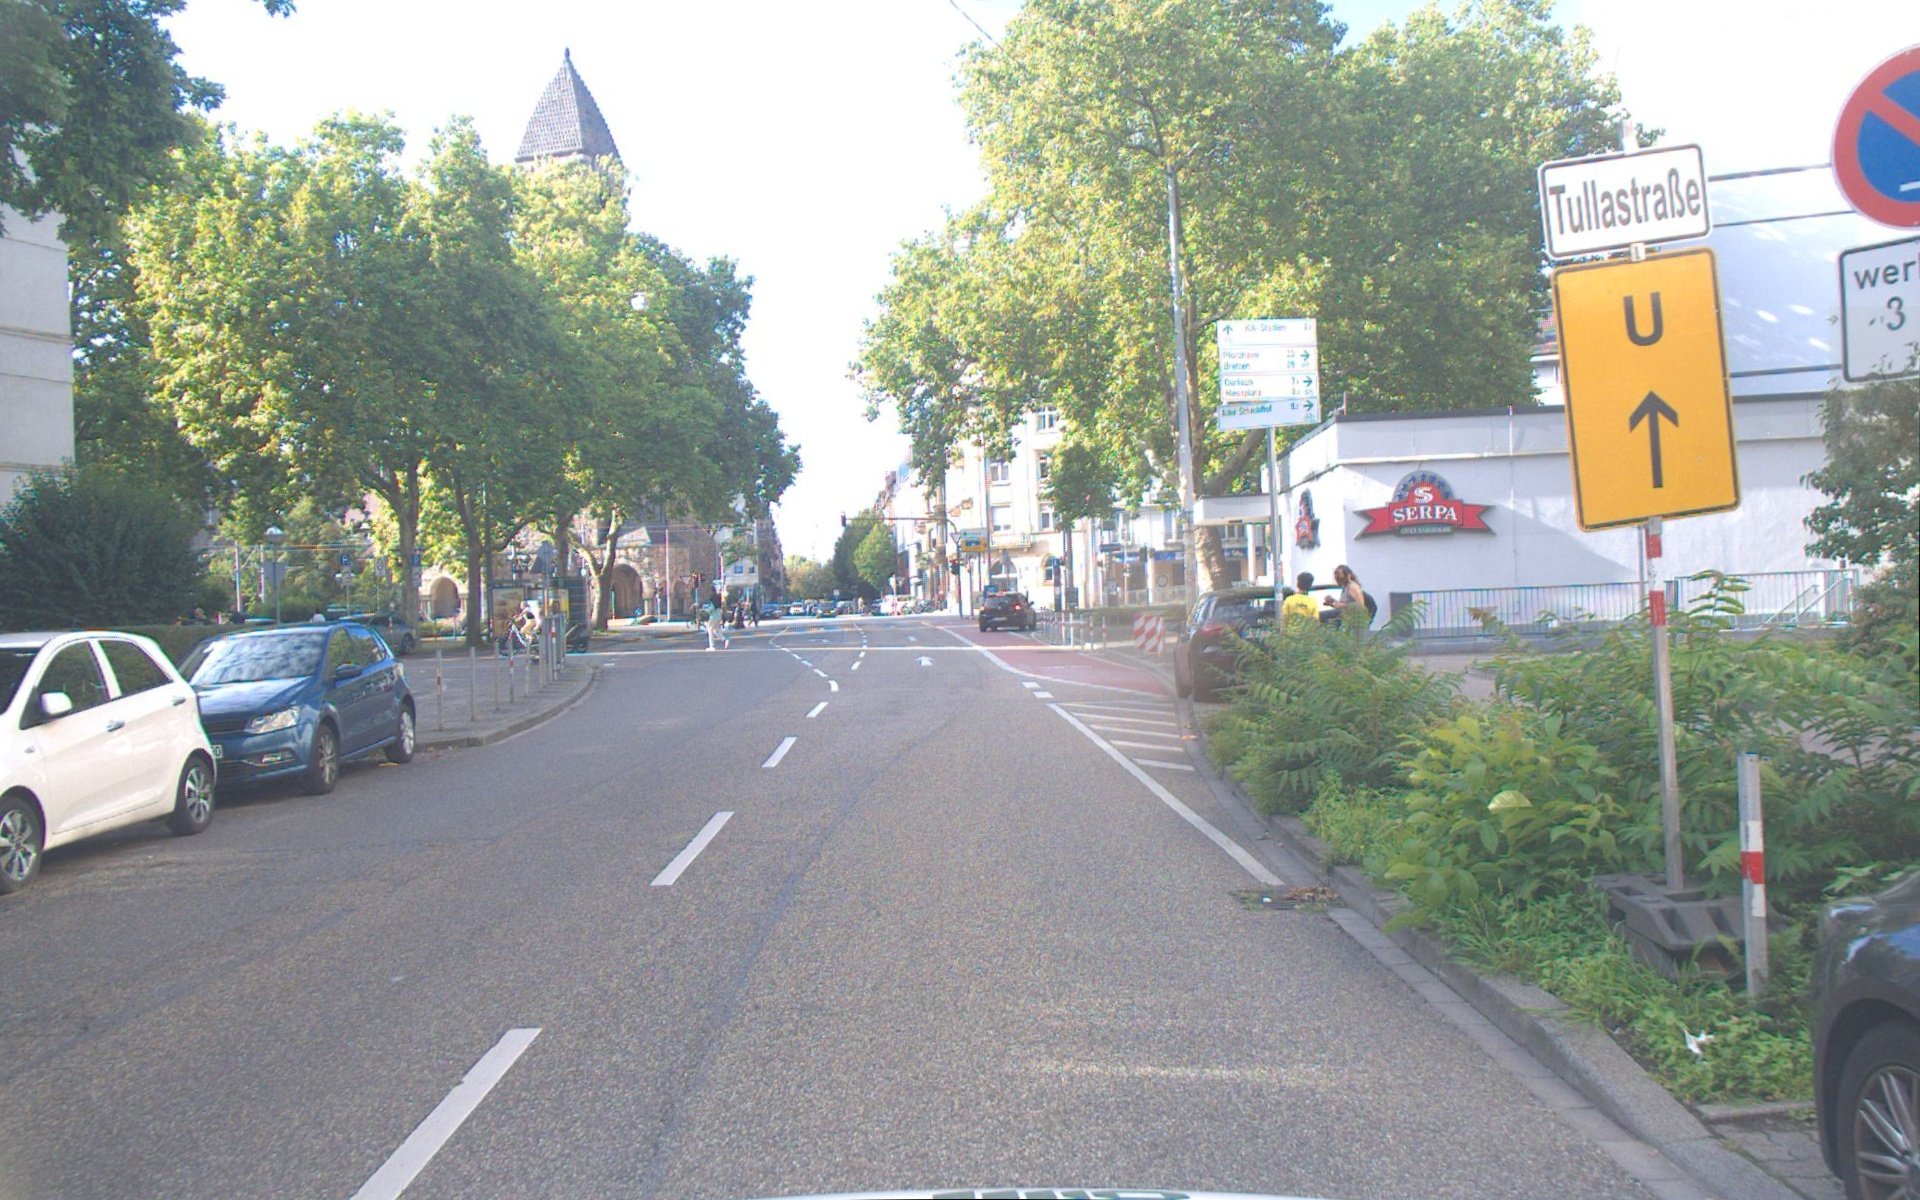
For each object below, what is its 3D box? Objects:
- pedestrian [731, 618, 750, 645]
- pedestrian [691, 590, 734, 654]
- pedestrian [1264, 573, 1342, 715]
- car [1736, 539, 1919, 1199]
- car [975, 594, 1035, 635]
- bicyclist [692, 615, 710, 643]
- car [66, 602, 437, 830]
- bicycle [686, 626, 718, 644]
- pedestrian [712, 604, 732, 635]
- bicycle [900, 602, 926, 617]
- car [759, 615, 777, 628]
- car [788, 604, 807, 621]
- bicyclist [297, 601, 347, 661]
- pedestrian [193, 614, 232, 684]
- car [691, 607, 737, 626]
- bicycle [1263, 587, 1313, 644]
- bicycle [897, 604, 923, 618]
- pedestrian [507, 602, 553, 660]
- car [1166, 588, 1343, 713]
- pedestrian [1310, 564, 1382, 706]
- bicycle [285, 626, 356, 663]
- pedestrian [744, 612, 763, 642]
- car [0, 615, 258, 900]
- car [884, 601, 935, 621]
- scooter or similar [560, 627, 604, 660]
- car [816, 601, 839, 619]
[{"bbox_3d":[-12.227,1.733,92.125,0.765,1.457,0.731,-2,0,21],"label":"pedestrian"},{"bbox_3d":[-7.067,0.617,47.263,1.057,1.784,0.914,-1,0,-18],"label":"pedestrian"},{"bbox_3d":[3.957,0.500,19.139,0.639,1.565,0.743,-4,0,-1],"label":"pedestrian"},{"bbox_3d":[2.812,0.612,1.894,1.656,1.555,4.235,-3,0,-2],"label":"car"},{"bbox_3d":[1.739,0.513,62.572,1.714,1.438,4.004,-2,0,10],"label":"car"},{"bbox_3d":[-15.516,1.738,99.166,0.762,1.607,0.626,-3,0,21],"label":"bicyclist"},{"bbox_3d":[-6.218,0.917,15.026,1.764,1.648,3.801,-5,0,-3],"label":"car"},{"bbox_3d":[-15.456,2.085,99.149,1.792,0.972,0.573,-3,0,22],"label":"bicycle"},{"bbox_3d":[-13.475,1.123,93.793,0.798,1.657,0.605,-4,0,20],"label":"pedestrian"},{"bbox_3d":[-3.835,0.795,134.189,1.989,1.101,0.618,-3,0,-15],"label":"bicycle"},{"bbox_3d":[-19.591,2.207,168.932,1.519,1.251,3.586,-2,0,-2],"label":"car"},{"bbox_3d":[-20.464,1.539,208.602,1.953,2.049,3.999,-2,0,-1],"label":"car"},{"bbox_3d":[-18.727,0.910,48.545,1.086,1.721,0.815,-1,0,19],"label":"bicyclist"},{"bbox_3d":[-17.715,1.159,39.192,0.724,1.606,0.725,-2,0,-31],"label":"pedestrian"},{"bbox_3d":[-23.652,1.582,159.153,3.970,1.624,1.839,-3,0,-44],"label":"car"},{"bbox_3d":[7.489,0.350,37.864,0.753,1.227,1.816,-4,0,2],"label":"bicycle"},{"bbox_3d":[-4.060,0.885,134.766,1.989,1.101,0.628,-3,0,-15],"label":"bicycle"},{"bbox_3d":[-12.932,0.920,49.764,1.067,1.683,0.804,-2,0,-41],"label":"pedestrian"},{"bbox_3d":[3.881,0.615,22.442,1.724,1.436,4.234,-4,0,2],"label":"car"},{"bbox_3d":[4.681,0.417,20.082,0.639,1.674,0.743,-2,0,-1],"label":"pedestrian"},{"bbox_3d":[-18.803,1.306,48.625,1.880,1.011,0.763,-1,0,19],"label":"bicycle"},{"bbox_3d":[-11.743,1.529,94.061,0.764,1.691,0.779,-2,0,18],"label":"pedestrian"},{"bbox_3d":[-6.182,0.950,10.451,1.763,1.519,3.803,-5,0,0],"label":"car"},{"bbox_3d":[-4.188,0.919,136.573,3.913,1.445,1.996,-3,0,-8],"label":"car"},{"bbox_3d":[-11.573,1.337,50.629,1.006,0.939,0.795,-2,0,-44],"label":"scooter or similar"},{"bbox_3d":[-11.539,0.874,143.603,1.911,1.396,3.996,-3,0,-5],"label":"car"}]
